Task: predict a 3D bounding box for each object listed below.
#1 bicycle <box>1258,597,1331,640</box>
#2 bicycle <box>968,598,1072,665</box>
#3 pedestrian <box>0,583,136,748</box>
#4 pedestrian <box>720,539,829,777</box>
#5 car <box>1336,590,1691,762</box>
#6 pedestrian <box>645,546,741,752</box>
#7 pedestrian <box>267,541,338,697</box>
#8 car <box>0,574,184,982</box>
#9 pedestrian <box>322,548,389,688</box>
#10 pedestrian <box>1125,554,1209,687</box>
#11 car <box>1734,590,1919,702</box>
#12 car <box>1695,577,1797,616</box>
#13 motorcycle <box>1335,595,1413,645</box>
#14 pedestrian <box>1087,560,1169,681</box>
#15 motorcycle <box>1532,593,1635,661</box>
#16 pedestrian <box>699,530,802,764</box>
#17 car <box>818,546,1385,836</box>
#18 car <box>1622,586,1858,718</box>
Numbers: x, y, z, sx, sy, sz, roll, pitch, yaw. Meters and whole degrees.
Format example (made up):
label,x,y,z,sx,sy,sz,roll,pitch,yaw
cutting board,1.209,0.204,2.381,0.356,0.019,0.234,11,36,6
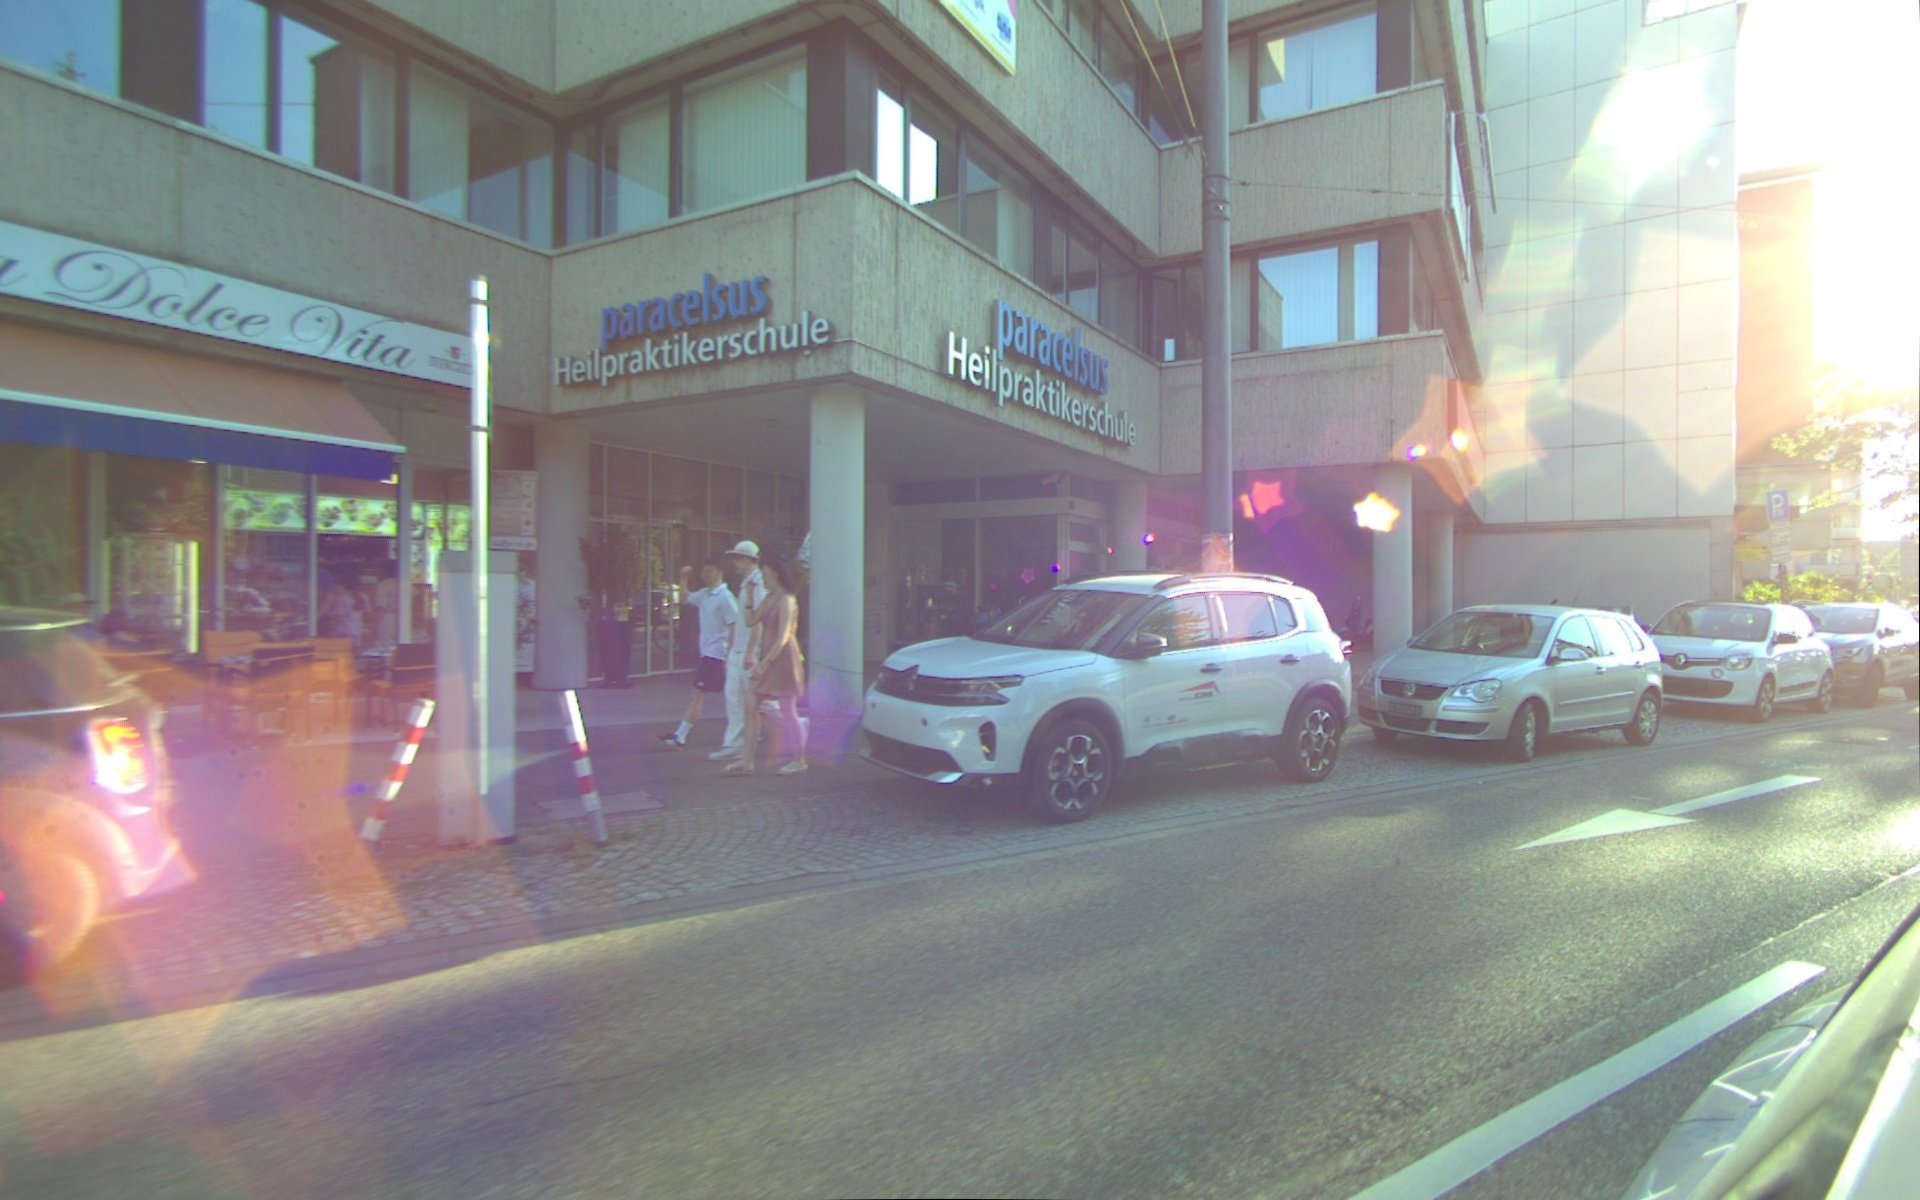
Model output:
label,x,y,z,sx,sy,sz,roll,pitch,yaw
bicycle,9.099,0.492,27.565,1.864,1.087,0.476,2,1,44
bicycle,1.055,0.542,17.808,1.735,1.085,0.481,2,1,18
pedestrian,-7.548,0.519,8.558,0.761,1.297,0.656,2,2,28
pedestrian,-1.468,0.423,7.980,0.649,1.781,0.581,0,2,-33
car,5.912,0.666,10.714,3.779,1.459,1.669,0,2,-33
pedestrian,-2.402,0.408,9.085,0.649,1.761,0.625,0,2,-33
pedestrian,-7.775,0.218,11.968,0.594,1.782,0.515,-1,-1,33
car,-5.107,0.647,3.551,3.752,1.459,1.667,0,3,-37
pedestrian,-7.461,0.217,12.494,0.594,1.671,0.515,-1,-1,33
pedestrian,2.848,0.260,13.882,0.697,1.749,1.017,1,1,42
car,14.753,0.667,16.747,4.152,1.575,1.789,0,2,-33
car,52.783,-0.216,68.138,5.228,2.514,1.903,0,0,33
motorcycle,10.493,0.495,25.720,0.519,1.220,2.023,0,0,-25
pedestrian,2.454,0.274,14.783,0.988,1.694,0.632,1,1,42
motorcycle,13.430,0.558,21.824,1.783,1.348,0.574,2,2,45
pedestrian,-1.776,0.360,8.558,0.649,1.880,0.625,0,2,-33
car,1.280,0.497,8.121,4.420,1.734,1.874,0,3,-36
car,11.026,0.631,14.254,3.541,1.575,1.613,0,2,-35
